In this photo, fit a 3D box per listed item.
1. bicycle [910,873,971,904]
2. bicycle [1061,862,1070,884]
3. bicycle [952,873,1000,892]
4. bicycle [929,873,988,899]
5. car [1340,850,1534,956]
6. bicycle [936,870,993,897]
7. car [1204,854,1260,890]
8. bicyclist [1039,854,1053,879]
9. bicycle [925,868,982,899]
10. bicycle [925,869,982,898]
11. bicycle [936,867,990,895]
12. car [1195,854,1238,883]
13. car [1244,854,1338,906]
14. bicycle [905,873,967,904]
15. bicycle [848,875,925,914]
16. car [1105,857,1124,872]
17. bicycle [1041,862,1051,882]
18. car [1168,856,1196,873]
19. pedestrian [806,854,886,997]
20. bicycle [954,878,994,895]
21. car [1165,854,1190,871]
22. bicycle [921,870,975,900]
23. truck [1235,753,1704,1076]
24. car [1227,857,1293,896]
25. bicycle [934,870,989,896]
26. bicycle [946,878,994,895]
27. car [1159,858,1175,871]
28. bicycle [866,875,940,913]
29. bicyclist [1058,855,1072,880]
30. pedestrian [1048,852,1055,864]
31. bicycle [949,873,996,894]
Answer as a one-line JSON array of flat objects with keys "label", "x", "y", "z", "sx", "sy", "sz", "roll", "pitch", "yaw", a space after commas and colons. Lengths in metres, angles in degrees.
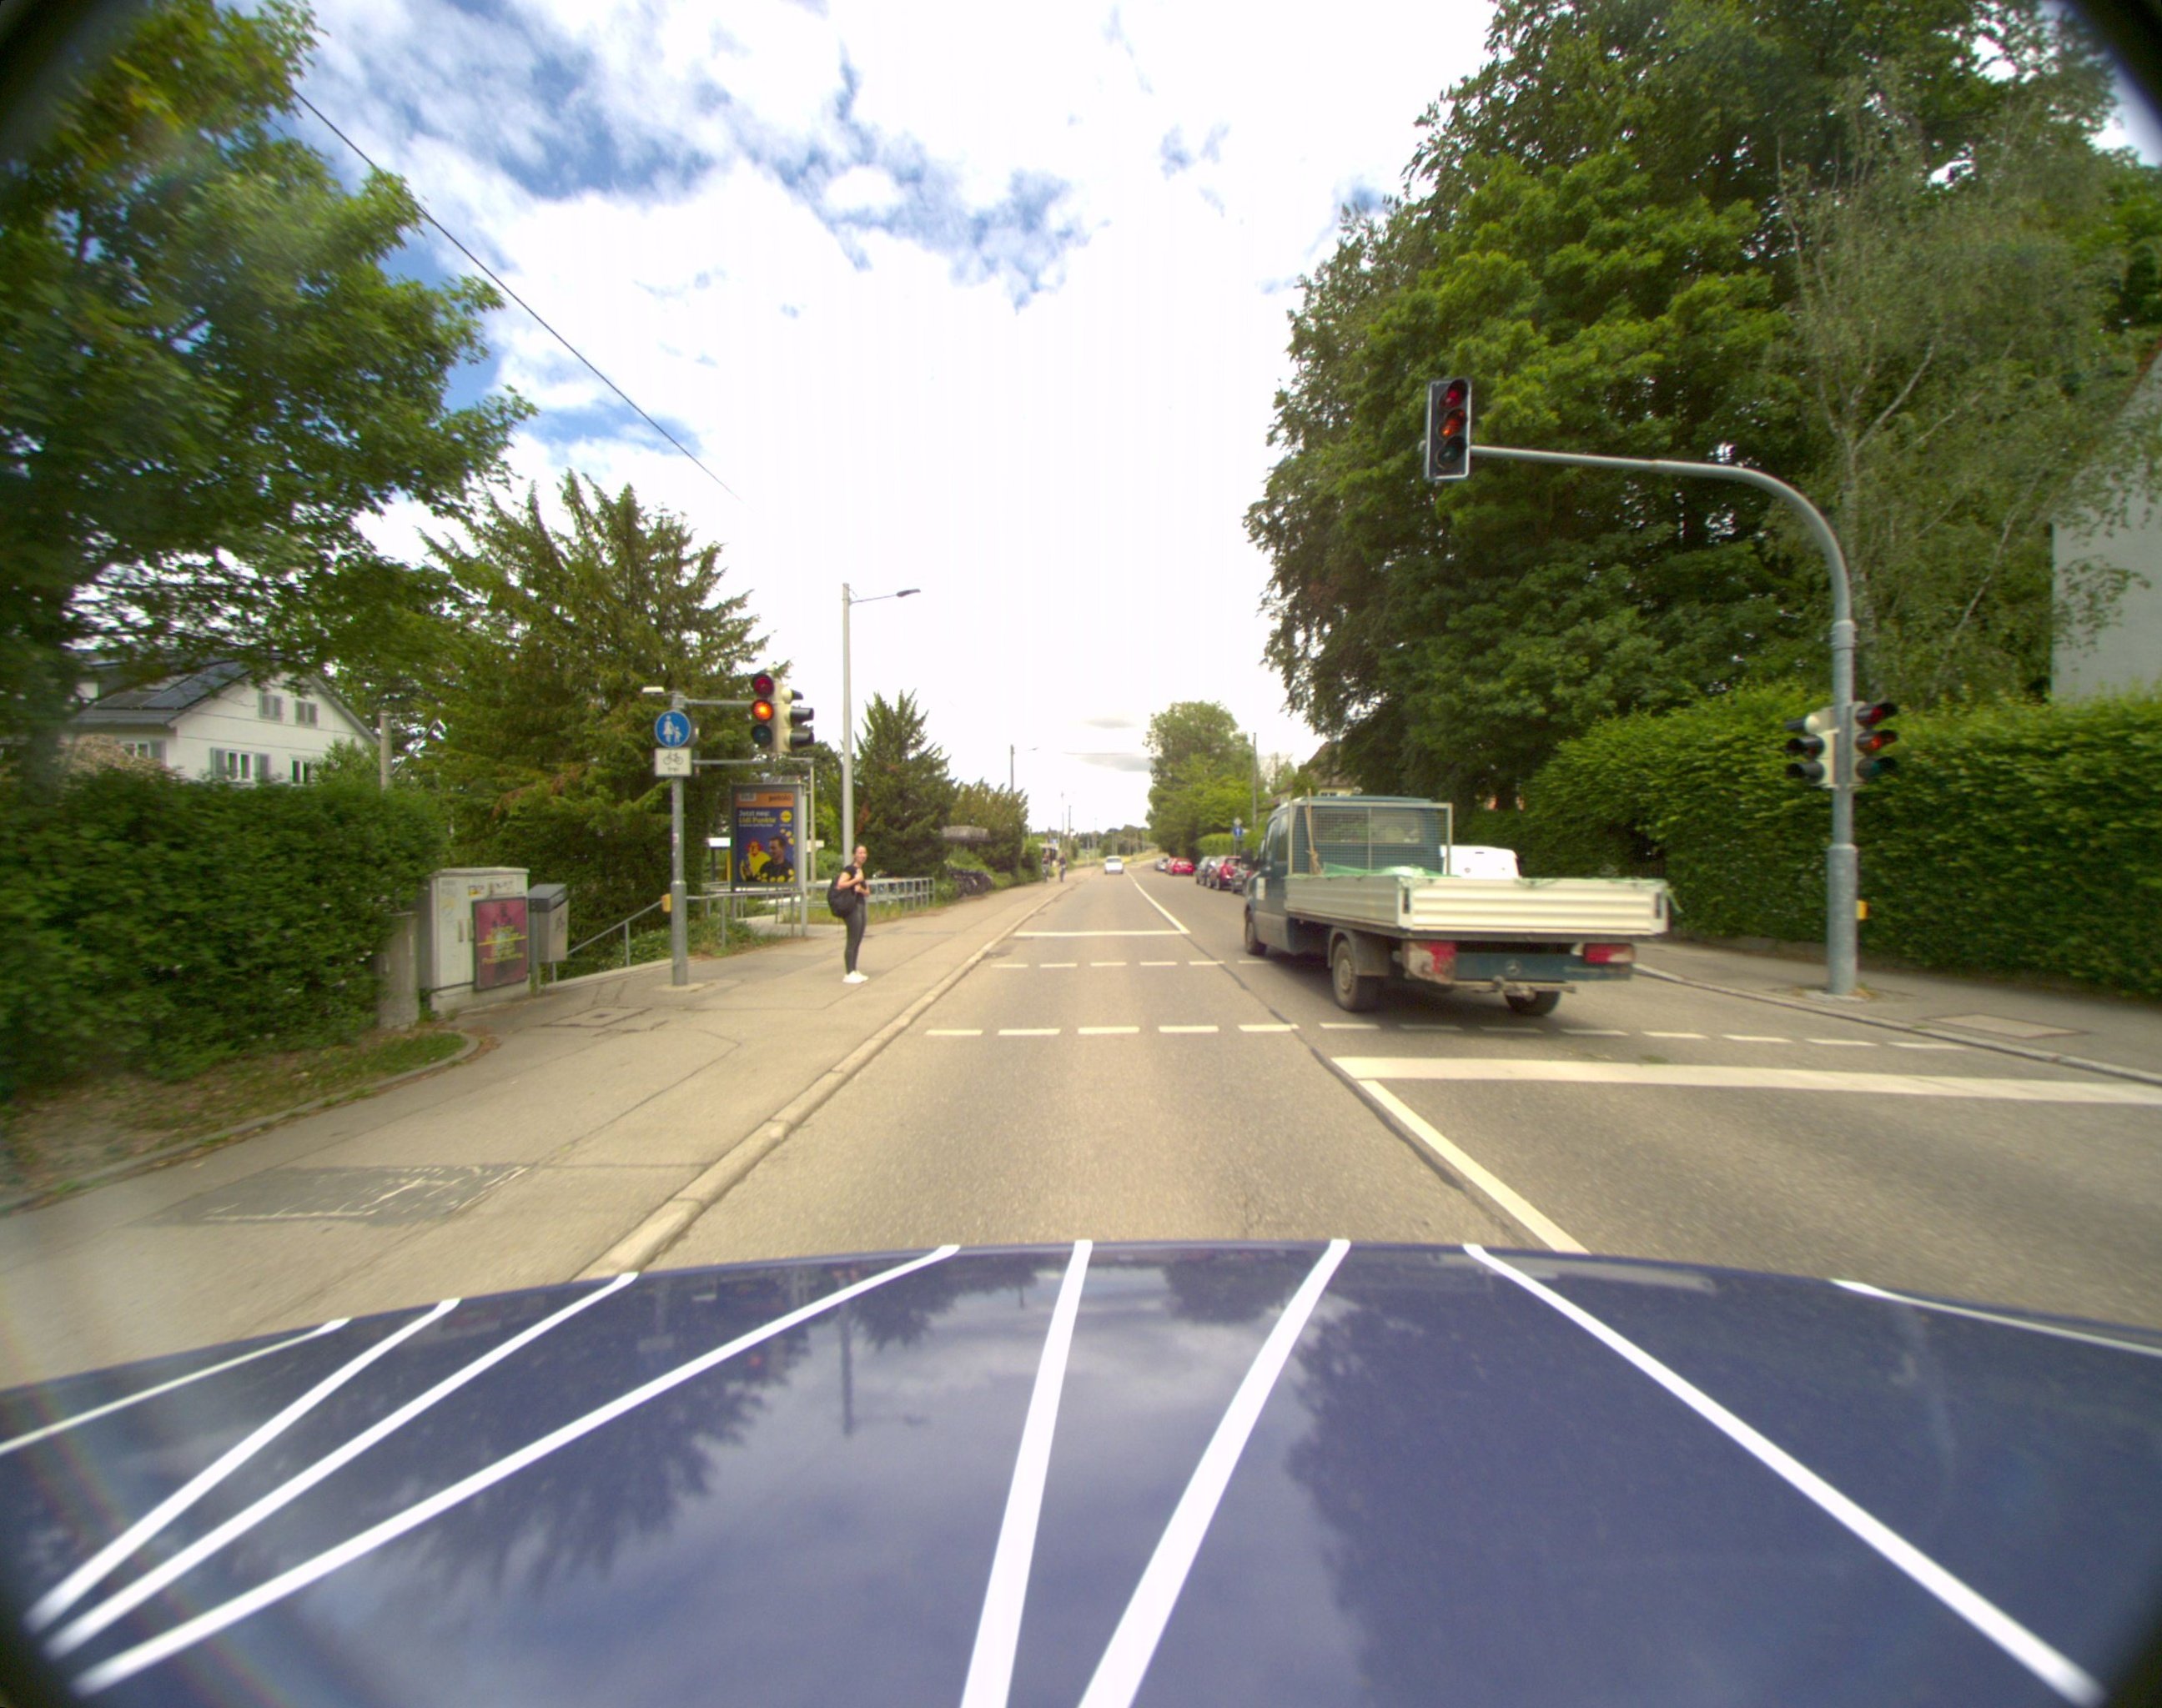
[{"label": "bicycle", "x": -5.123, "y": 1.244, "z": 27.719, "sx": 2.094, "sy": 1.041, "sz": 0.450, "roll": -2, "pitch": 1, "yaw": -1}, {"label": "bicycle", "x": -0.961, "y": 1.181, "z": 47.946, "sx": 0.451, "sy": 1.278, "sz": 2.207, "roll": -2, "pitch": 1, "yaw": -3}, {"label": "bicycle", "x": -4.725, "y": 1.286, "z": 34.243, "sx": 2.081, "sy": 0.821, "sz": 0.451, "roll": -2, "pitch": 1, "yaw": 7}, {"label": "bicycle", "x": -4.831, "y": 1.244, "z": 29.981, "sx": 2.206, "sy": 0.932, "sz": 0.451, "roll": -2, "pitch": 1, "yaw": -2}, {"label": "car", "x": 6.799, "y": 0.829, "z": 15.146, "sx": 1.681, "sy": 1.748, "sz": 4.607, "roll": 1, "pitch": 0, "yaw": 0}, {"label": "bicycle", "x": -4.648, "y": 1.194, "z": 30.428, "sx": 2.206, "sy": 1.041, "sz": 0.451, "roll": -1, "pitch": 1, "yaw": -1}, {"label": "car", "x": 7.197, "y": 0.818, "z": 36.676, "sx": 1.795, "sy": 1.601, "sz": 4.416, "roll": 0, "pitch": 0, "yaw": -1}, {"label": "bicyclist", "x": -2.172, "y": 0.741, "z": 46.854, "sx": 0.826, "sy": 1.529, "sz": 0.862, "roll": 0, "pitch": 0, "yaw": 0}, {"label": "bicycle", "x": -4.914, "y": 1.153, "z": 29.432, "sx": 2.094, "sy": 1.144, "sz": 0.530, "roll": -1, "pitch": 1, "yaw": -1}, {"label": "bicycle", "x": -5.187, "y": 1.200, "z": 31.040, "sx": 2.206, "sy": 1.041, "sz": 0.451, "roll": 2, "pitch": 1, "yaw": -1}, {"label": "bicycle", "x": -4.942, "y": 1.132, "z": 31.879, "sx": 2.205, "sy": 1.143, "sz": 0.451, "roll": 0, "pitch": 1, "yaw": 7}, {"label": "car", "x": 7.438, "y": 0.782, "z": 42.137, "sx": 1.761, "sy": 1.525, "sz": 4.328, "roll": 1, "pitch": 0, "yaw": 2}, {"label": "car", "x": 6.970, "y": 0.810, "z": 25.711, "sx": 1.901, "sy": 1.584, "sz": 4.643, "roll": 0, "pitch": 0, "yaw": 0}, {"label": "bicycle", "x": -5.184, "y": 1.233, "z": 27.165, "sx": 2.094, "sy": 1.041, "sz": 0.450, "roll": -2, "pitch": 1, "yaw": -1}, {"label": "bicycle", "x": -5.621, "y": 1.160, "z": 21.963, "sx": 2.093, "sy": 1.074, "sz": 0.547, "roll": 0, "pitch": 1, "yaw": 4}, {"label": "car", "x": 3.046, "y": 0.934, "z": 69.618, "sx": 1.665, "sy": 1.394, "sz": 3.900, "roll": 0, "pitch": 0, "yaw": 1}, {"label": "bicycle", "x": -2.142, "y": 1.087, "z": 47.000, "sx": 0.451, "sy": 1.143, "sz": 2.208, "roll": 0, "pitch": 1, "yaw": 1}, {"label": "car", "x": 8.411, "y": 0.840, "z": 63.509, "sx": 1.971, "sy": 1.394, "sz": 4.066, "roll": 0, "pitch": 0, "yaw": 3}, {"label": "pedestrian", "x": -2.836, "y": 0.843, "z": 9.226, "sx": 0.649, "sy": 1.655, "sz": 0.708, "roll": -2, "pitch": 1, "yaw": 6}, {"label": "bicycle", "x": -4.577, "y": 1.386, "z": 32.467, "sx": 1.682, "sy": 0.635, "sz": 0.332, "roll": -2, "pitch": 1, "yaw": -10}, {"label": "car", "x": 8.915, "y": 0.767, "z": 70.207, "sx": 1.853, "sy": 1.442, "sz": 3.749, "roll": 0, "pitch": 0, "yaw": 1}, {"label": "bicycle", "x": -5.022, "y": 1.162, "z": 28.743, "sx": 2.090, "sy": 1.041, "sz": 0.451, "roll": 1, "pitch": 1, "yaw": 22}, {"label": "truck", "x": 3.567, "y": 0.450, "z": 9.089, "sx": 2.194, "sy": 2.358, "sz": 6.905, "roll": 1, "pitch": 0, "yaw": 2}, {"label": "car", "x": 7.217, "y": 0.874, "z": 31.075, "sx": 1.737, "sy": 1.450, "sz": 4.237, "roll": 0, "pitch": 0, "yaw": 1}, {"label": "bicycle", "x": -4.931, "y": 1.190, "z": 31.453, "sx": 2.205, "sy": 1.041, "sz": 0.451, "roll": 0, "pitch": 1, "yaw": 7}, {"label": "bicycle", "x": -4.786, "y": 1.391, "z": 32.741, "sx": 1.988, "sy": 0.635, "sz": 0.332, "roll": -2, "pitch": 1, "yaw": -10}, {"label": "car", "x": 9.395, "y": 1.147, "z": 82.921, "sx": 1.676, "sy": 1.363, "sz": 3.608, "roll": 1, "pitch": 0, "yaw": 7}, {"label": "bicycle", "x": -5.456, "y": 1.221, "z": 23.366, "sx": 2.093, "sy": 1.041, "sz": 0.559, "roll": -3, "pitch": 1, "yaw": 4}, {"label": "bicyclist", "x": -1.030, "y": 0.846, "z": 48.033, "sx": 0.826, "sy": 1.529, "sz": 0.861, "roll": -2, "pitch": 1, "yaw": -1}, {"label": "pedestrian", "x": -3.148, "y": 0.462, "z": 81.481, "sx": 0.588, "sy": 1.272, "sz": 0.582, "roll": -2, "pitch": 1, "yaw": 5}, {"label": "bicycle", "x": -4.795, "y": 1.293, "z": 33.543, "sx": 1.994, "sy": 0.821, "sz": 0.451, "roll": -2, "pitch": 1, "yaw": 1}]
